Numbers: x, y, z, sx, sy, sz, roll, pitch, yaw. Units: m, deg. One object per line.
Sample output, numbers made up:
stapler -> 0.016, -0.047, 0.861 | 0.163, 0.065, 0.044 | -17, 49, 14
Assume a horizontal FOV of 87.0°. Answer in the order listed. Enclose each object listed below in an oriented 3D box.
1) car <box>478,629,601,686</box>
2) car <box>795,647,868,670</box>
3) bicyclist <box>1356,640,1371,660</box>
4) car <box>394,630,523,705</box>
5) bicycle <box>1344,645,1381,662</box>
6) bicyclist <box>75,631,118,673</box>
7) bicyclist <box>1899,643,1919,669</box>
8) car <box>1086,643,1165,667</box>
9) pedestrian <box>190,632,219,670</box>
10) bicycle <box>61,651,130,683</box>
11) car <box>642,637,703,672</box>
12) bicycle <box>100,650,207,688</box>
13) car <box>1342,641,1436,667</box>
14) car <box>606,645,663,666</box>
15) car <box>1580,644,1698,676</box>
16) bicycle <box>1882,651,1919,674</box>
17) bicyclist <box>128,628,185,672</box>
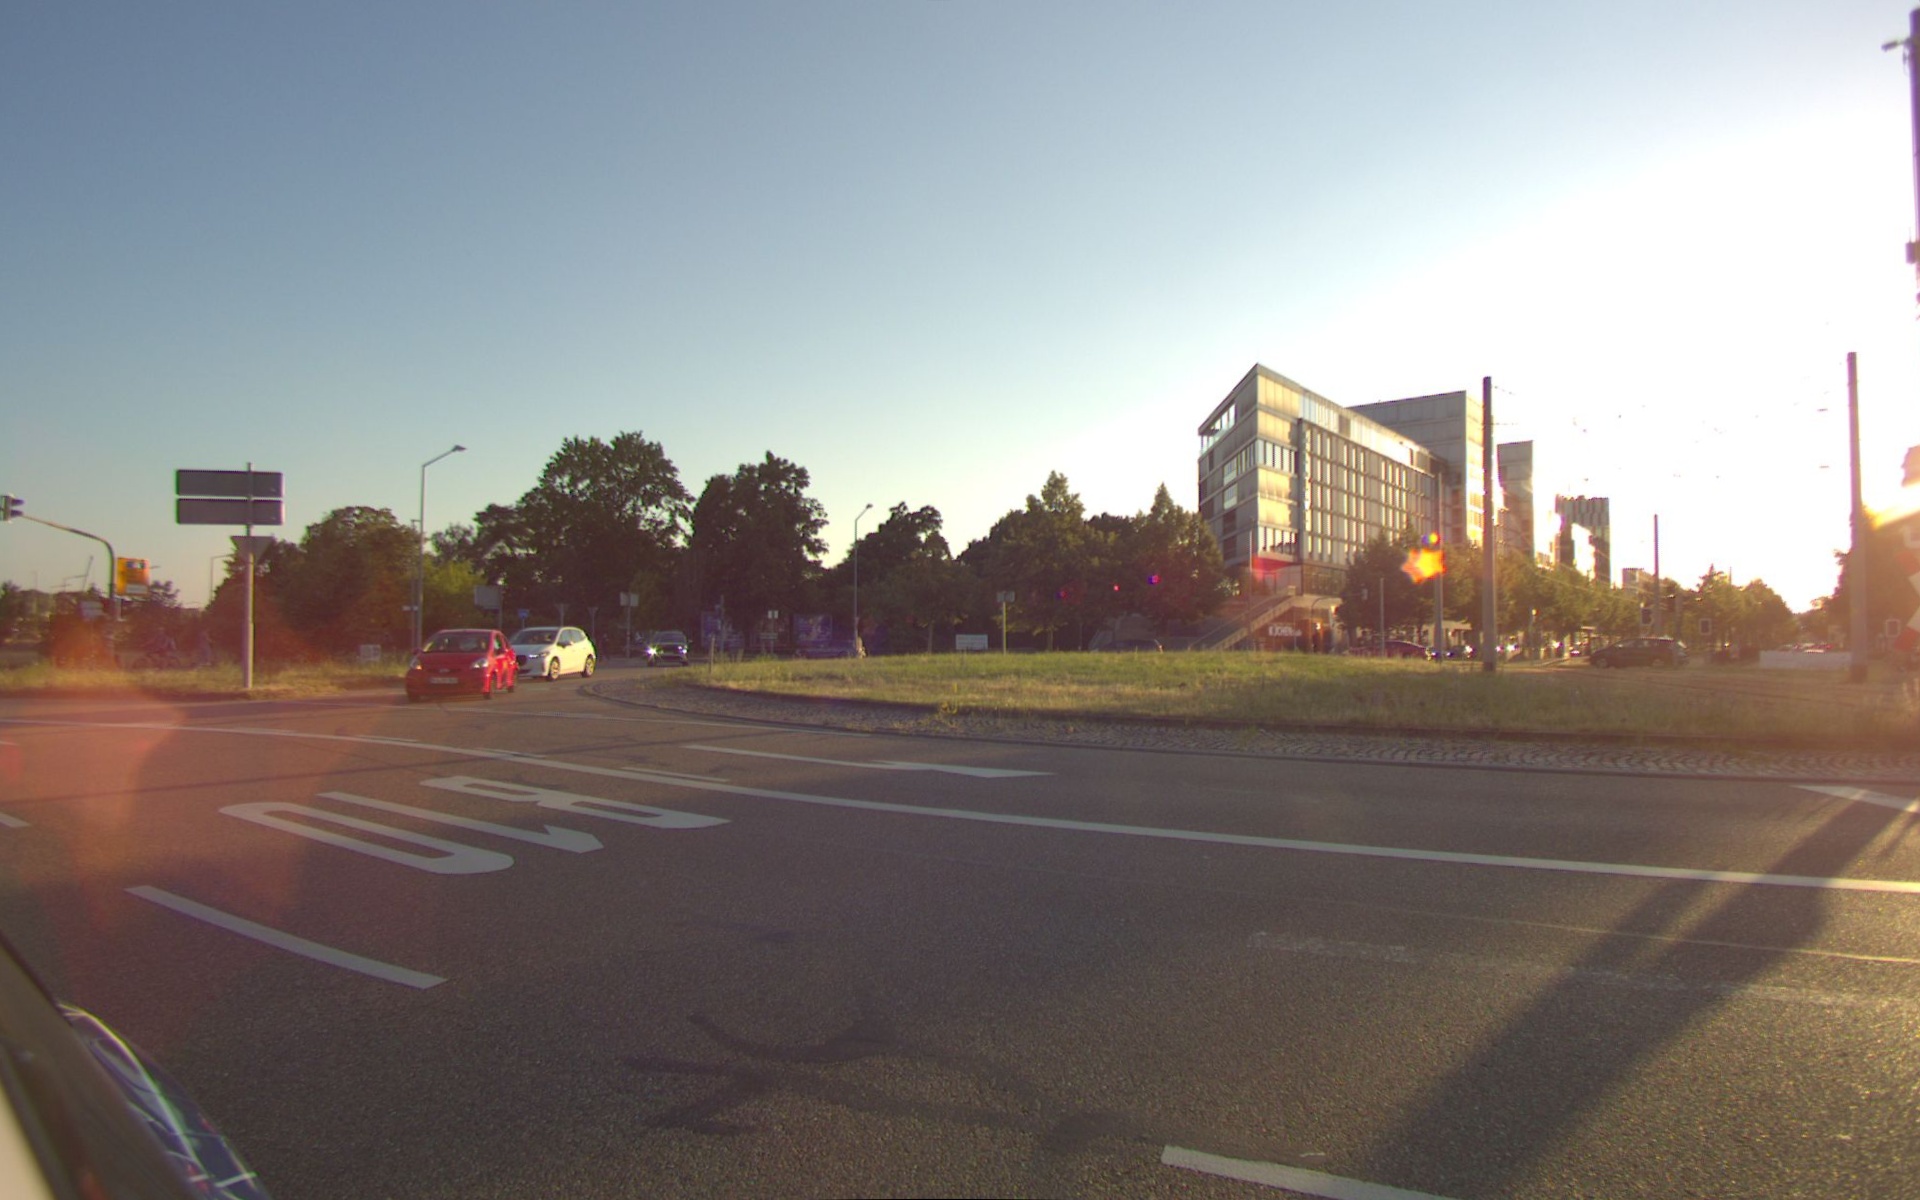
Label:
car -> -12.240, 1.651, 29.743 | 1.736, 1.570, 4.211 | 0, -2, 2
car -> -8.331, 3.805, 65.872 | 4.355, 1.443, 1.938 | -1, -2, 11
bicyclist -> 29.132, 3.590, 73.034 | 0.876, 1.403, 0.746 | -1, -3, 31
car -> -10.575, 1.390, 21.638 | 1.666, 1.432, 4.222 | 0, -3, -15
bicycle -> 29.022, 3.862, 73.041 | 2.401, 1.176, 0.746 | -1, -3, 32
bicyclist -> -34.519, 2.086, 40.478 | 0.799, 1.645, 1.001 | 0, -2, -2
bicyclist -> 51.012, 2.982, 54.126 | 0.742, 1.405, 0.981 | 2, -3, -32
car -> 9.927, 3.297, 60.916 | 4.339, 1.443, 1.945 | 0, -2, -1
pedestrian -> -34.322, 2.323, 45.973 | 0.875, 1.714, 0.723 | 1, -3, -23
bicycle -> -34.535, 2.663, 40.488 | 0.799, 1.188, 2.329 | 0, -2, -2
car -> -13.383, 2.505, 47.314 | 1.802, 1.570, 4.216 | 0, -2, -2
bicycle -> -32.701, 2.774, 41.149 | 1.111, 1.406, 3.528 | 0, -2, 9
car -> 24.247, 3.036, 57.215 | 4.584, 1.443, 1.922 | -2, -3, 35
car -> -23.519, 3.979, 73.166 | 3.736, 1.443, 1.924 | -2, -3, 31
car -> 32.765, 2.871, 48.982 | 1.911, 1.443, 4.334 | 1, -3, -23
bicycle -> 51.019, 3.358, 54.132 | 0.742, 1.176, 2.416 | 2, -3, -32
bicyclist -> -32.701, 2.014, 41.220 | 1.111, 1.762, 1.413 | 0, -2, 10
